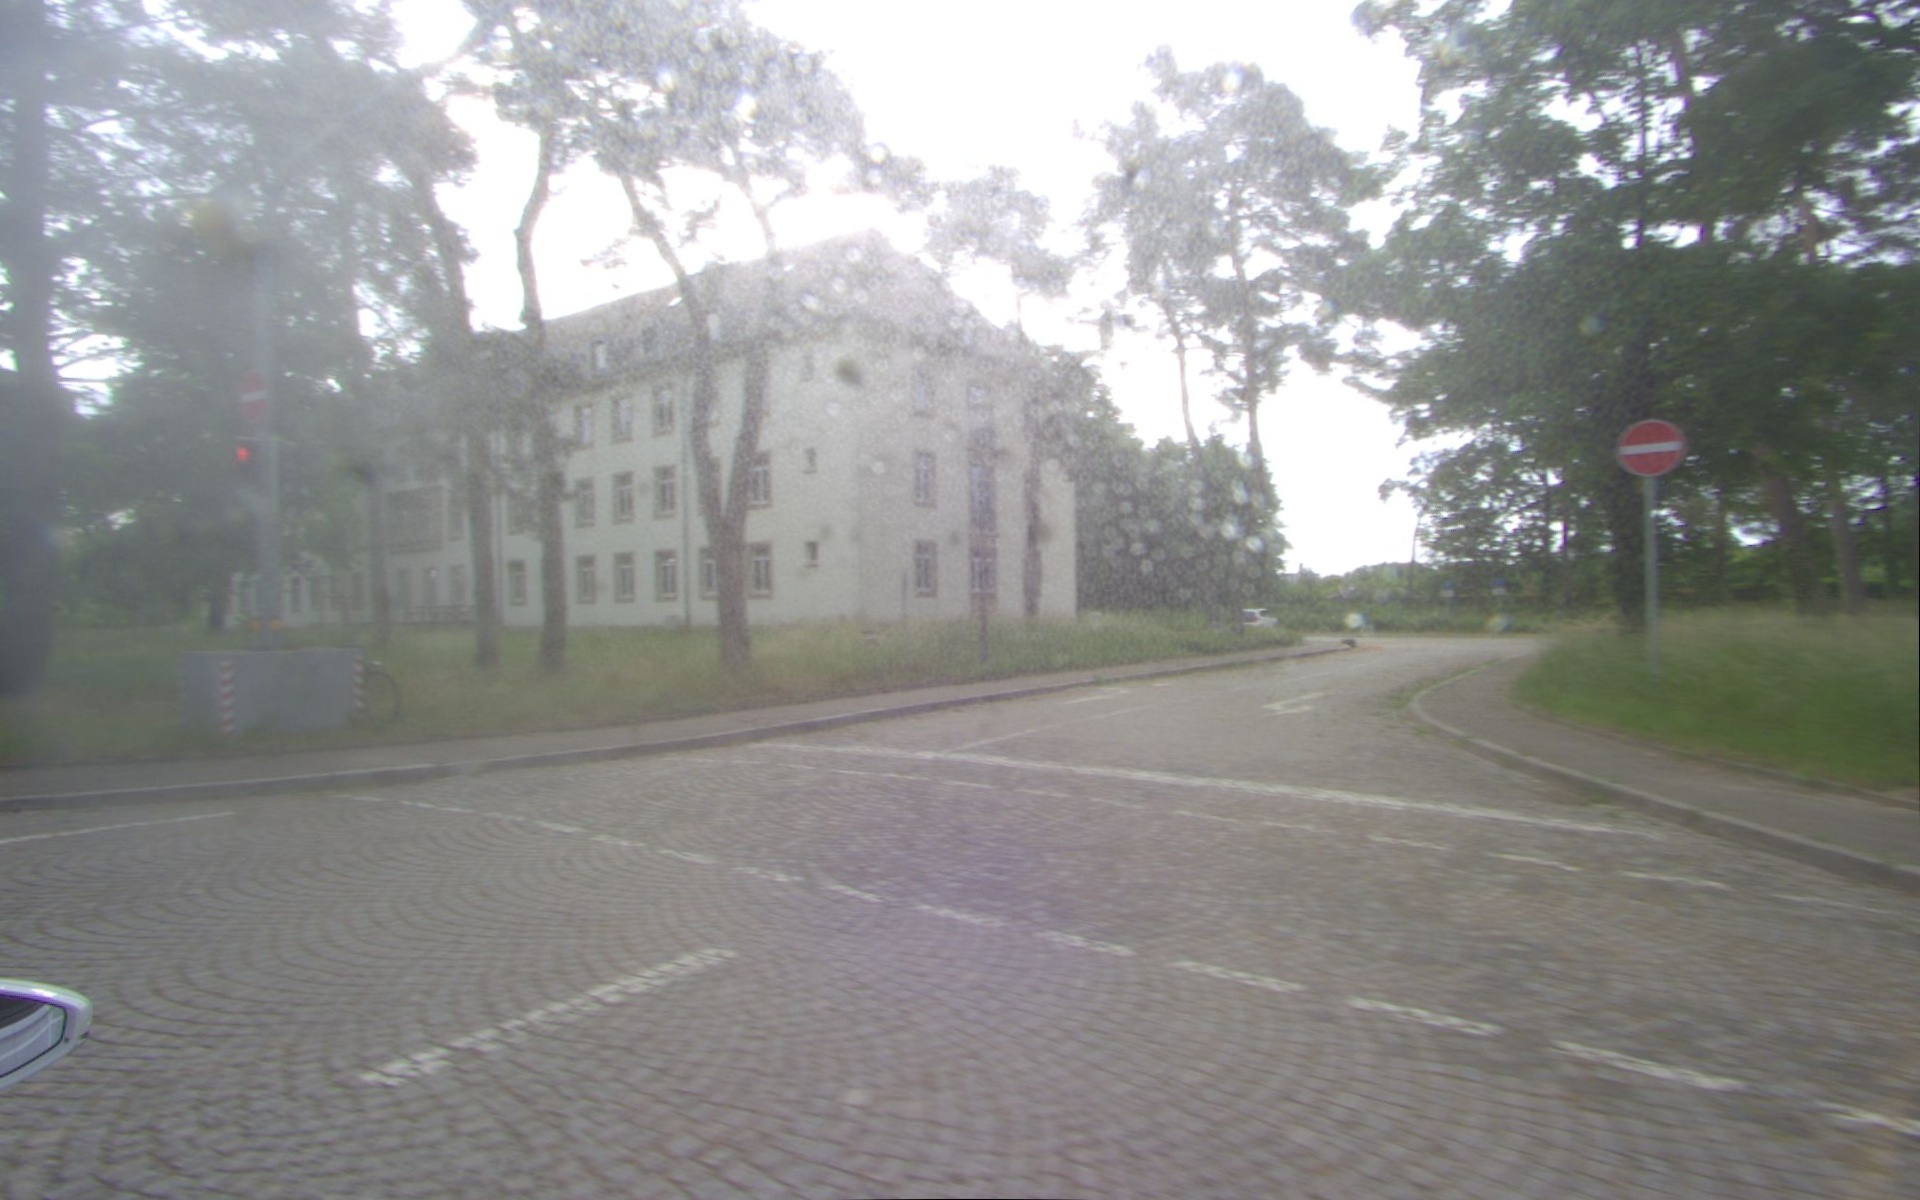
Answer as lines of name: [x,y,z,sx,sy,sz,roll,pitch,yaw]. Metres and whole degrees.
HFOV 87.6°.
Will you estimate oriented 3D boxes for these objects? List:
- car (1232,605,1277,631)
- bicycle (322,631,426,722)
car: [16.649,1.029,56.532,1.469,1.455,3.174,-1,-1,37]
bicycle: [-7.370,0.928,12.565,1.657,0.984,0.577,1,3,40]
